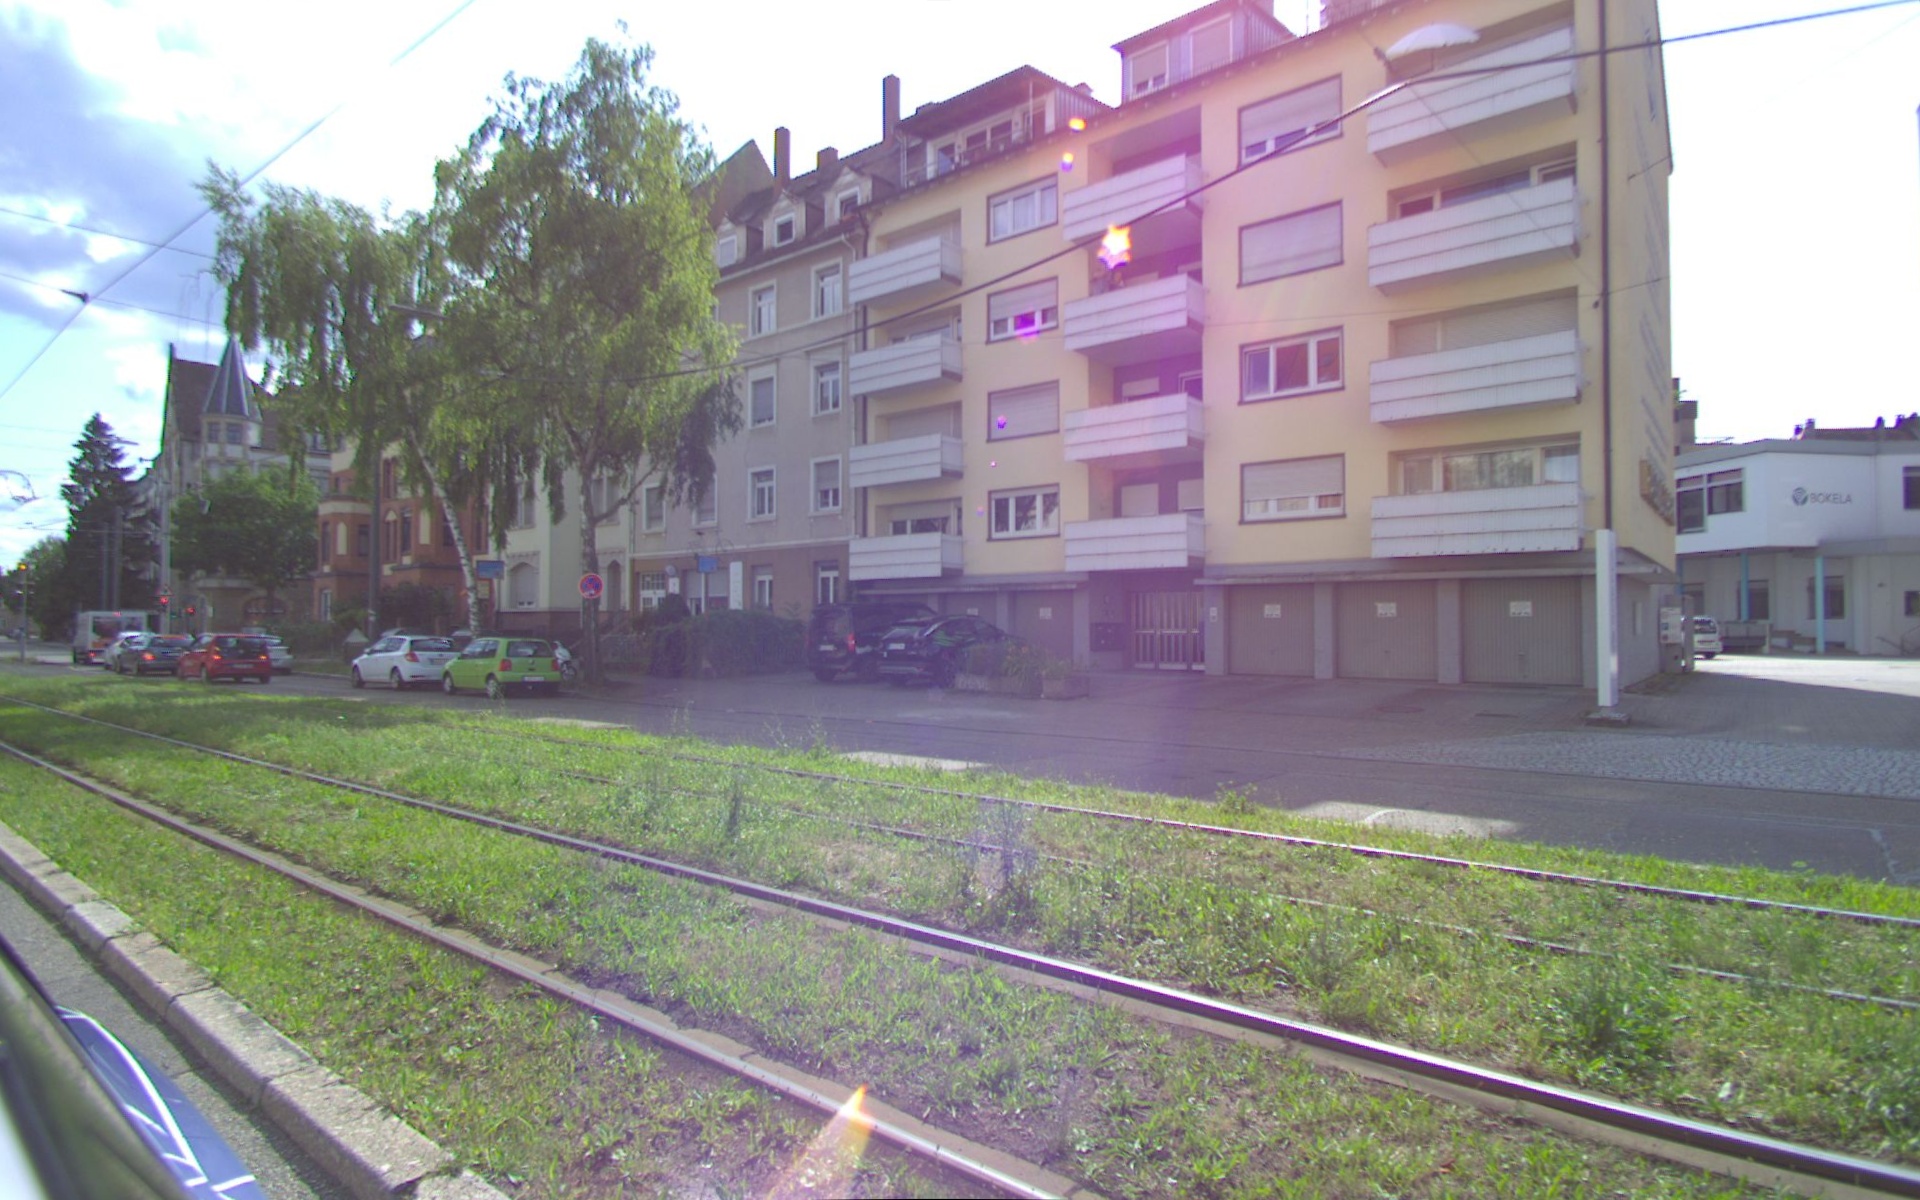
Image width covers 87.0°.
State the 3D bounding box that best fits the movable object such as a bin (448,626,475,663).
[{"bbox_3d":[-18.880,1.677,38.322,0.698,1.372,0.667,-2,-2,36],"label":"movable object such as a bin"}]

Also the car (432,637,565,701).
[{"bbox_3d":[-11.269,1.632,24.631,3.612,1.443,1.577,-2,-3,41],"label":"car"}]

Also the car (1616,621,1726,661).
[{"bbox_3d":[31.822,1.826,45.434,1.744,1.708,4.006,0,-2,-8],"label":"car"}]

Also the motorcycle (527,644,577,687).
[{"bbox_3d":[-10.983,1.738,27.239,1.631,1.050,0.494,0,2,39],"label":"motorcycle"}]

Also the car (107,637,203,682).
[{"bbox_3d":[-27.369,1.988,34.344,4.510,1.366,1.736,-1,-4,41],"label":"car"}]

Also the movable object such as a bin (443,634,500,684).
[{"bbox_3d":[-14.648,1.749,30.327,1.520,1.440,0.941,-2,0,39],"label":"movable object such as a bin"}]

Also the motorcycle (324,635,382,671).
[{"bbox_3d":[-21.780,1.892,36.311,2.288,1.252,0.893,-2,-2,34],"label":"motorcycle"}]

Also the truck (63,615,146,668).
[{"bbox_3d":[-38.551,1.854,45.527,6.613,2.231,2.160,-2,-3,44],"label":"truck"}]

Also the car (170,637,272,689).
[{"bbox_3d":[-21.701,1.806,29.687,3.690,1.397,1.563,-2,-3,40],"label":"car"}]

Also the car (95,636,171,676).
[{"bbox_3d":[-31.739,2.131,38.798,4.134,1.425,1.735,-1,-4,44],"label":"car"}]

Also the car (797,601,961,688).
[{"bbox_3d":[-2.036,1.077,26.211,1.937,2.029,3.944,-2,0,43],"label":"car"}]

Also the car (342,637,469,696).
[{"bbox_3d":[-15.268,1.779,27.791,4.222,1.489,1.628,-2,-4,40],"label":"car"}]

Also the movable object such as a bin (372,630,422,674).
[{"bbox_3d":[-19.376,1.779,34.826,1.520,1.377,0.942,-2,3,39],"label":"movable object such as a bin"}]

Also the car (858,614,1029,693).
[{"bbox_3d":[-0.313,1.200,24.095,1.971,1.614,3.947,-2,0,39],"label":"car"}]

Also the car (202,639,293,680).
[{"bbox_3d":[-25.542,2.097,36.244,3.993,1.366,1.736,-2,-3,41],"label":"car"}]
